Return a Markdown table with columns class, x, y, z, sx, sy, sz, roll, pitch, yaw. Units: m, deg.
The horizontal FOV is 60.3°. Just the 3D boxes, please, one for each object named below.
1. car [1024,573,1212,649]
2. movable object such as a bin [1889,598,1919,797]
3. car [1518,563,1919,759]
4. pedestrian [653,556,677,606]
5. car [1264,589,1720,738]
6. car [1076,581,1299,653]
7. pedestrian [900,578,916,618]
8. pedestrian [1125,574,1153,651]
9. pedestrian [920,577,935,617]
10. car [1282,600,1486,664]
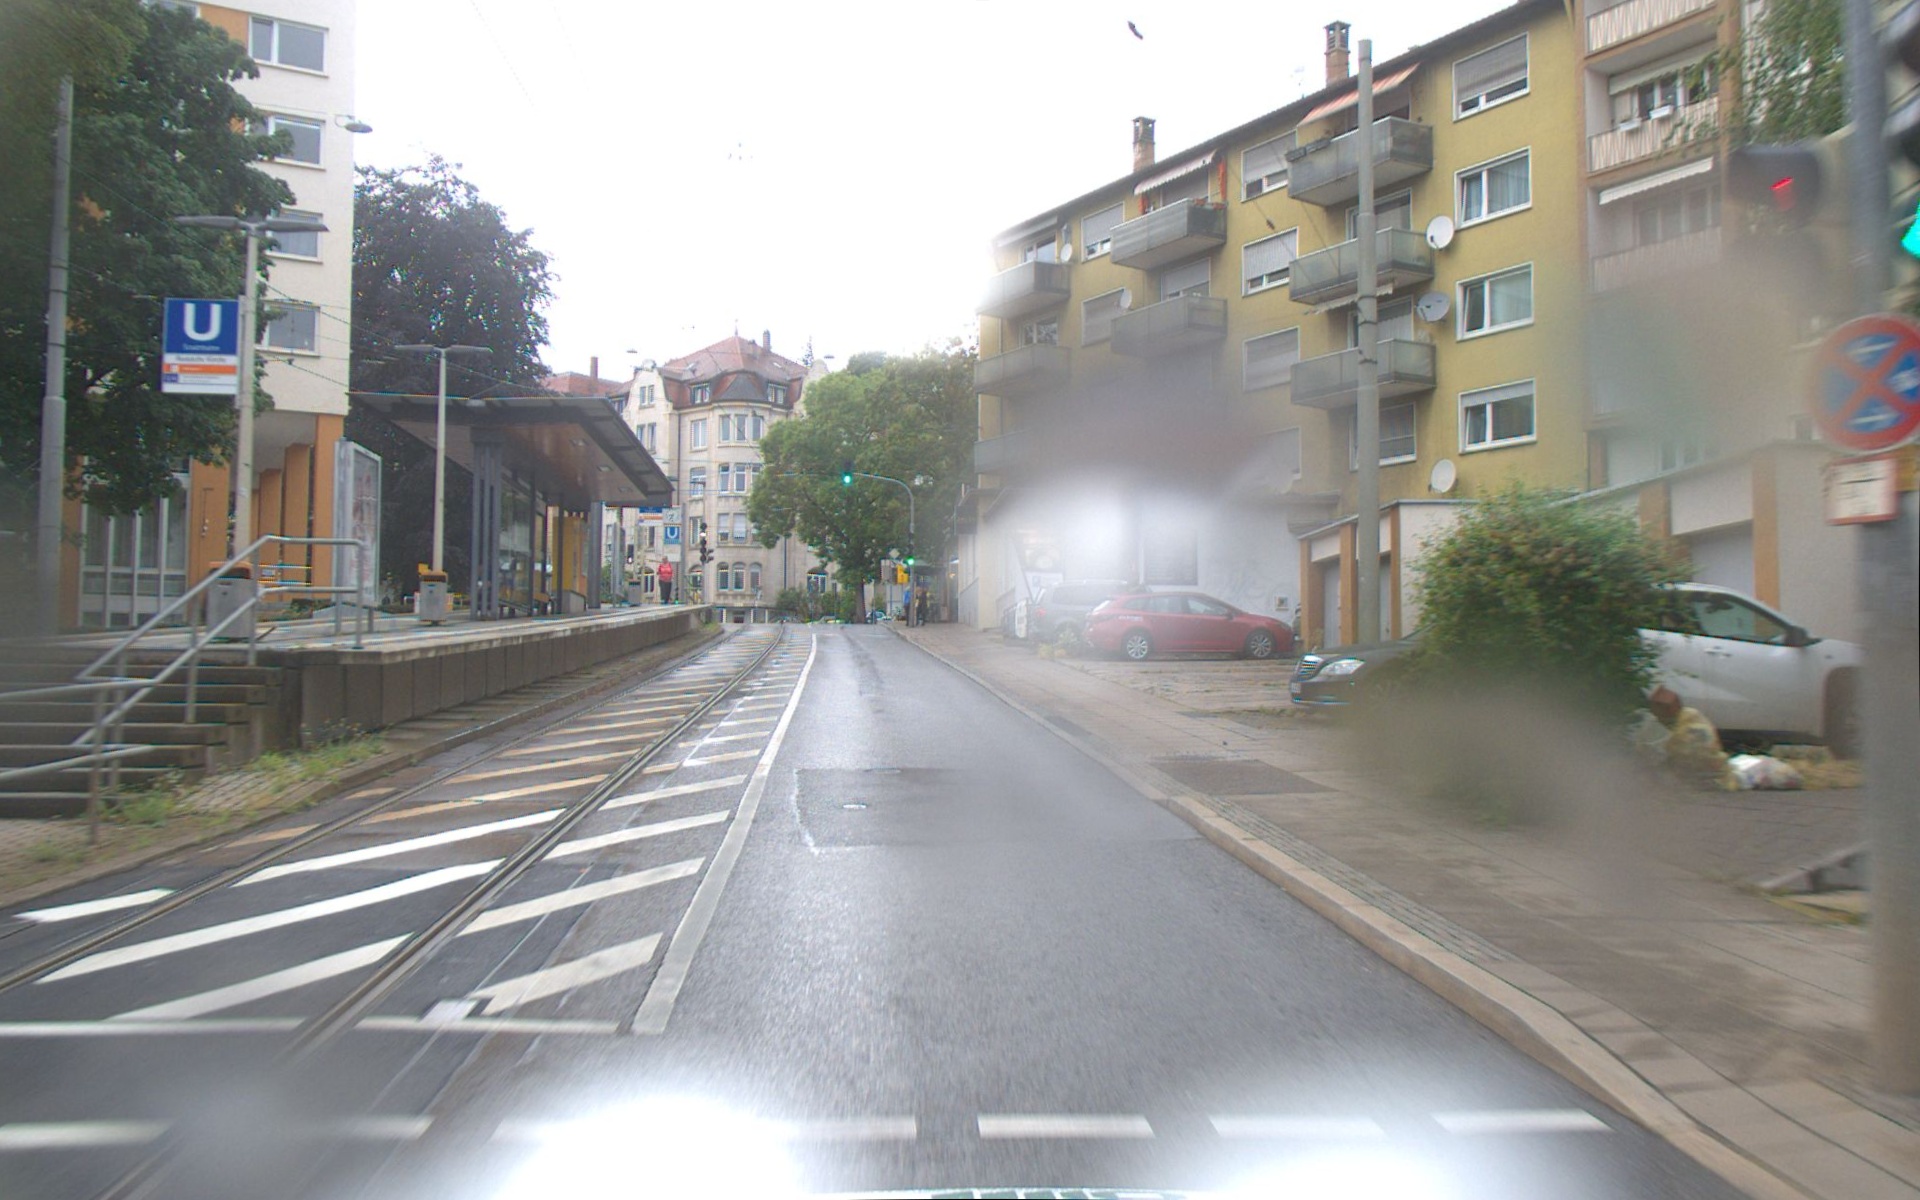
| class | x | y | z | sx | sy | sz | roll | pitch | yaw |
| --- | --- | --- | --- | --- | --- | --- | --- | --- | --- |
| car | 3.712 | 0.255 | 39.285 | 4.242 | 1.703 | 1.779 | -1 | 0 | -3 |
| movable object such as a bin | 5.936 | 0.572 | 9.671 | 0.526 | 1.160 | 0.698 | -2 | 1 | -20 |
| car | 7.103 | 0.527 | 14.301 | 3.914 | 1.492 | 1.813 | 2 | 0 | -10 |
| pedestrian | -9.323 | -0.611 | 52.281 | 0.658 | 1.575 | 0.770 | 0 | 0 | -6 |
| car | 6.331 | 0.737 | 20.024 | 4.835 | 1.461 | 1.973 | 2 | 2 | -5 |
| car | 4.858 | 0.358 | 35.660 | 4.480 | 1.463 | 1.763 | -1 | 0 | -6 |
| pedestrian | -2.057 | -0.071 | 65.467 | 0.577 | 1.581 | 0.649 | -1 | 0 | -6 |
| pedestrian | 4.104 | 0.279 | 37.915 | 0.593 | 1.744 | 0.722 | -1 | 0 | 8 |
| pedestrian | -1.296 | -0.112 | 66.290 | 0.535 | 1.581 | 0.558 | -1 | 0 | -7 |
| car | 10.186 | 0.791 | 39.918 | 4.423 | 1.426 | 1.779 | -1 | -3 | -4 |
